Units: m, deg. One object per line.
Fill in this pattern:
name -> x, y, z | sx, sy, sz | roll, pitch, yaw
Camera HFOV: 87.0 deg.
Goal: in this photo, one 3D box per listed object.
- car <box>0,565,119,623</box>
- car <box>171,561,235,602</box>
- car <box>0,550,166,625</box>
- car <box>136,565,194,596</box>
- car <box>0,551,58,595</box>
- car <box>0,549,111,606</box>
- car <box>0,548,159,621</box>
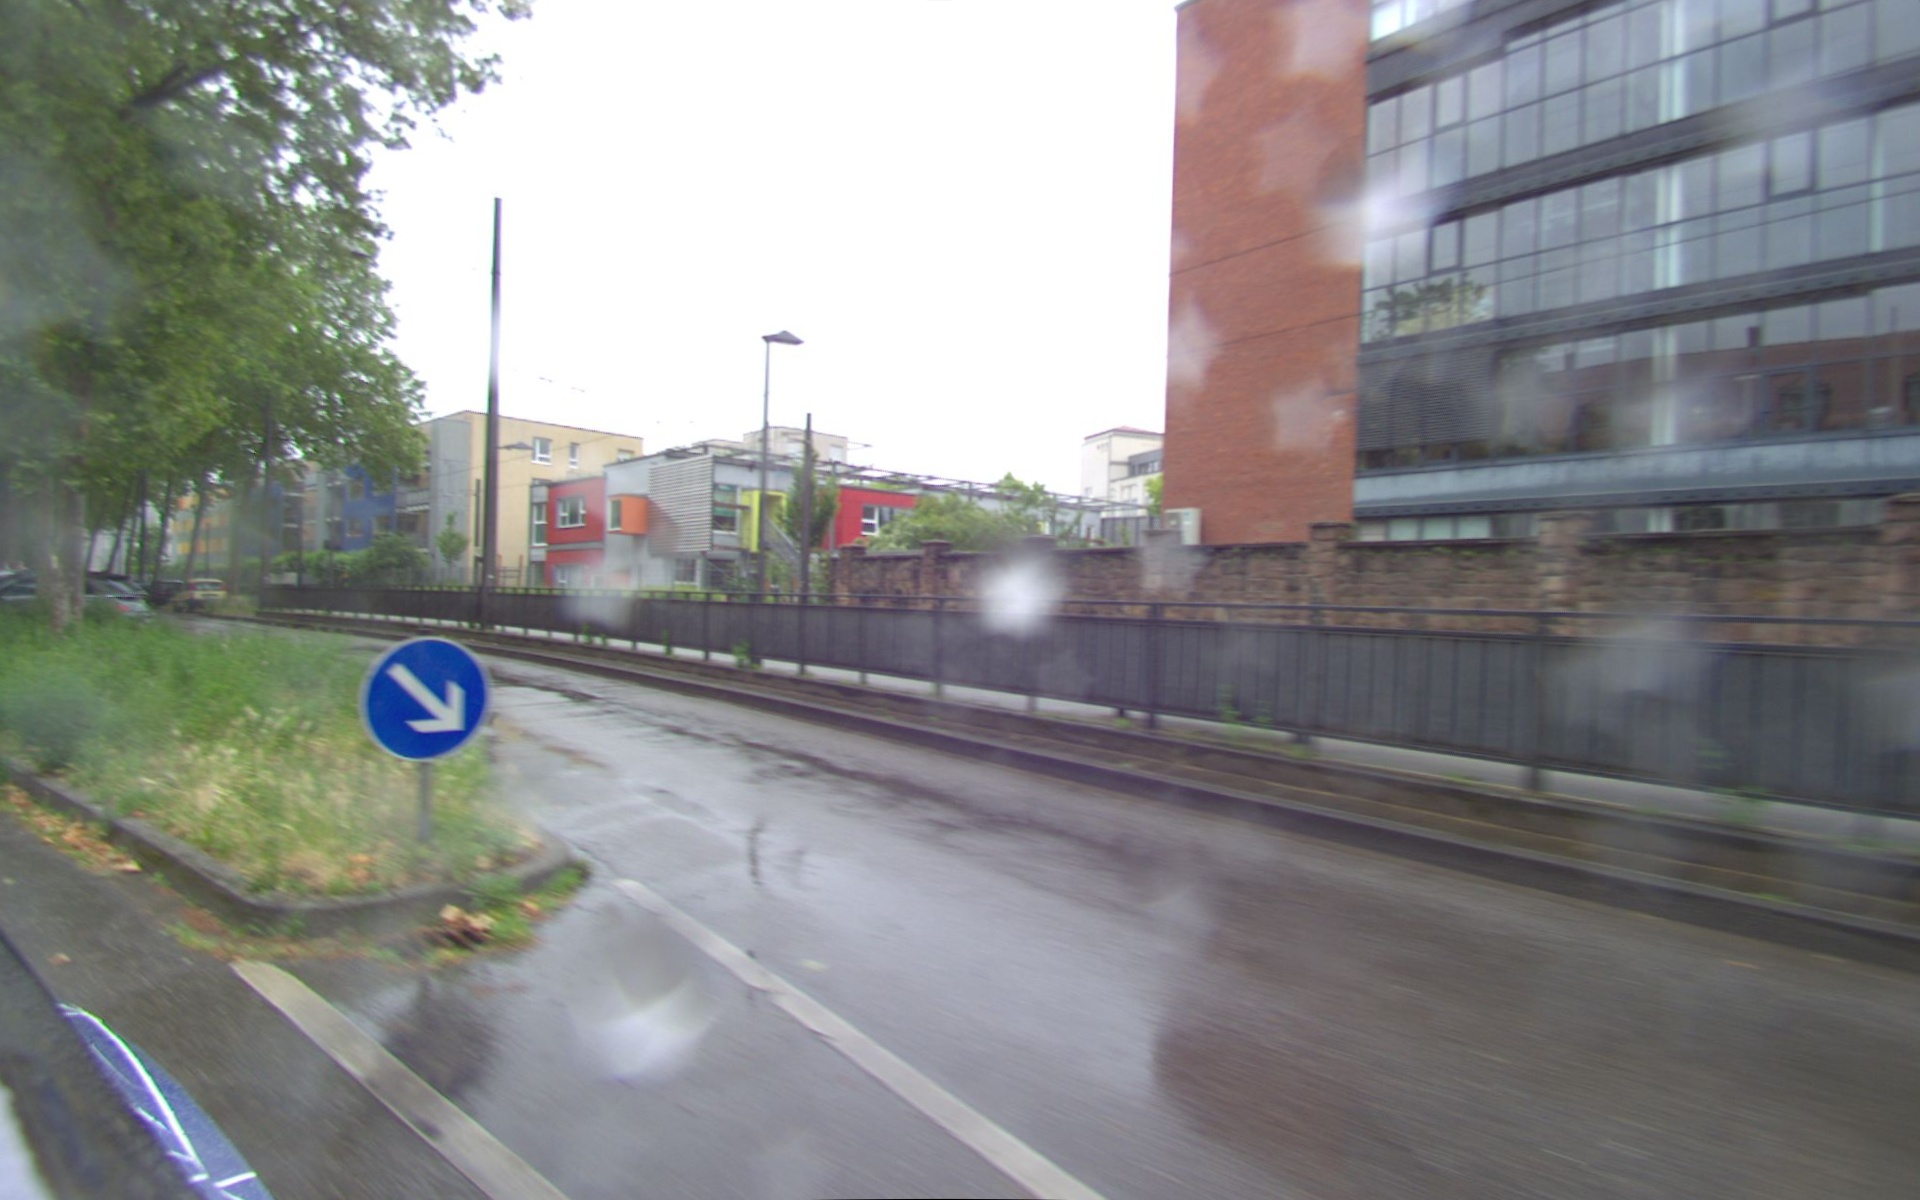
car -> -27.468, -0.230, 29.418 | 4.261, 1.519, 1.753 | 4, -1, -14
car -> -35.092, -0.862, 46.898 | 3.692, 1.736, 1.669 | 2, -1, 43
car -> -21.442, -0.323, 23.548 | 4.159, 1.553, 1.937 | 4, -1, -16
car -> -41.124, -1.020, 52.319 | 4.000, 1.458, 1.669 | 2, -1, 43
car -> -47.652, -1.410, 49.482 | 4.809, 2.029, 2.006 | 4, -1, -16
car -> -29.362, -0.745, 31.351 | 4.258, 1.624, 1.754 | 4, -1, -21
car -> -23.015, -0.427, 25.399 | 4.159, 1.622, 1.754 | 4, -1, -16
